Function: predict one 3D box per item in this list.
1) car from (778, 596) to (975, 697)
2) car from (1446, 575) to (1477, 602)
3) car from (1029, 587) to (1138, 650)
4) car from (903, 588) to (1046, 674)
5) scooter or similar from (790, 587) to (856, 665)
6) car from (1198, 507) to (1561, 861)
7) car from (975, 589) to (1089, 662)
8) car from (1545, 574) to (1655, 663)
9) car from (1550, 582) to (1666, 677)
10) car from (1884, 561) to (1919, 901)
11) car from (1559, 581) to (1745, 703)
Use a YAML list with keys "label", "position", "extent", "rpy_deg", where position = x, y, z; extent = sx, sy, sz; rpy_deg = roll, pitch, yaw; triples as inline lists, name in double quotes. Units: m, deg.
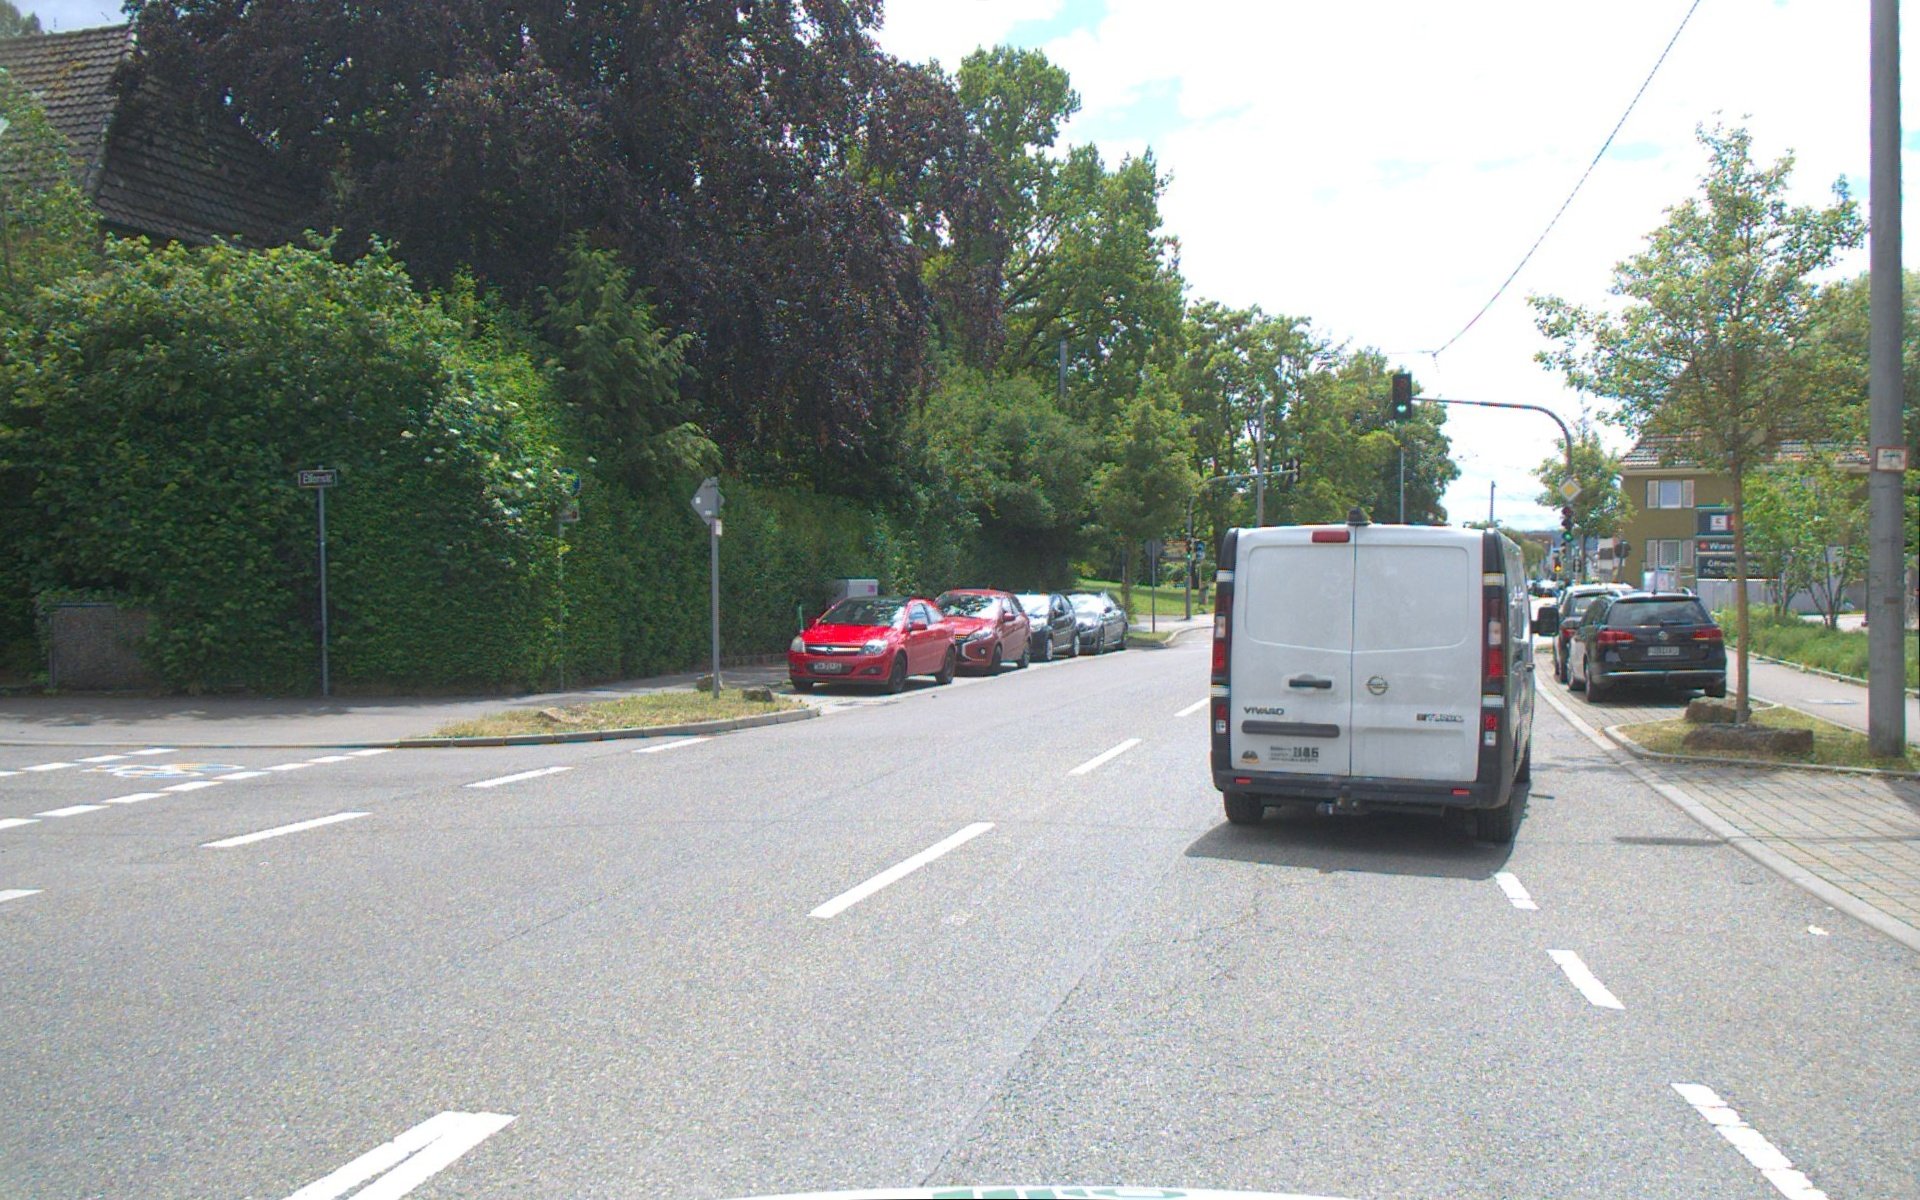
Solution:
- label: "car"
  position: [-1.204, 0.666, 26.143]
  extent: [1.625, 1.402, 4.569]
  rpy_deg: [1, 1, 17]
- label: "car"
  position: [31.536, -0.722, 104.038]
  extent: [1.794, 1.645, 4.154]
  rpy_deg: [-1, 0, 18]
- label: "car"
  position: [3.055, 0.397, 39.994]
  extent: [1.659, 1.389, 4.689]
  rpy_deg: [2, 1, 16]
- label: "car"
  position: [0.349, 0.531, 31.219]
  extent: [1.615, 1.476, 4.108]
  rpy_deg: [1, 1, 16]
- label: "scooter or similar"
  position: [-2.617, 0.479, 31.749]
  extent: [0.656, 1.437, 1.650]
  rpy_deg: [1, 1, 18]
- label: "car"
  position: [3.259, 0.444, 12.041]
  extent: [1.899, 1.994, 4.833]
  rpy_deg: [2, 1, 22]
- label: "car"
  position: [1.618, 0.506, 35.928]
  extent: [1.562, 1.476, 3.598]
  rpy_deg: [1, 1, 18]
- label: "car"
  position: [13.032, 0.355, 33.883]
  extent: [1.700, 1.644, 4.389]
  rpy_deg: [-3, -1, 17]
- label: "car"
  position: [11.129, 0.469, 28.583]
  extent: [1.535, 1.519, 4.002]
  rpy_deg: [-1, 0, 17]
- label: "car"
  position: [5.305, 0.622, 5.827]
  extent: [1.839, 1.650, 4.850]
  rpy_deg: [-2, 0, 7]
- label: "car"
  position: [9.780, 0.532, 23.735]
  extent: [1.727, 1.503, 4.939]
  rpy_deg: [-3, 0, 15]
